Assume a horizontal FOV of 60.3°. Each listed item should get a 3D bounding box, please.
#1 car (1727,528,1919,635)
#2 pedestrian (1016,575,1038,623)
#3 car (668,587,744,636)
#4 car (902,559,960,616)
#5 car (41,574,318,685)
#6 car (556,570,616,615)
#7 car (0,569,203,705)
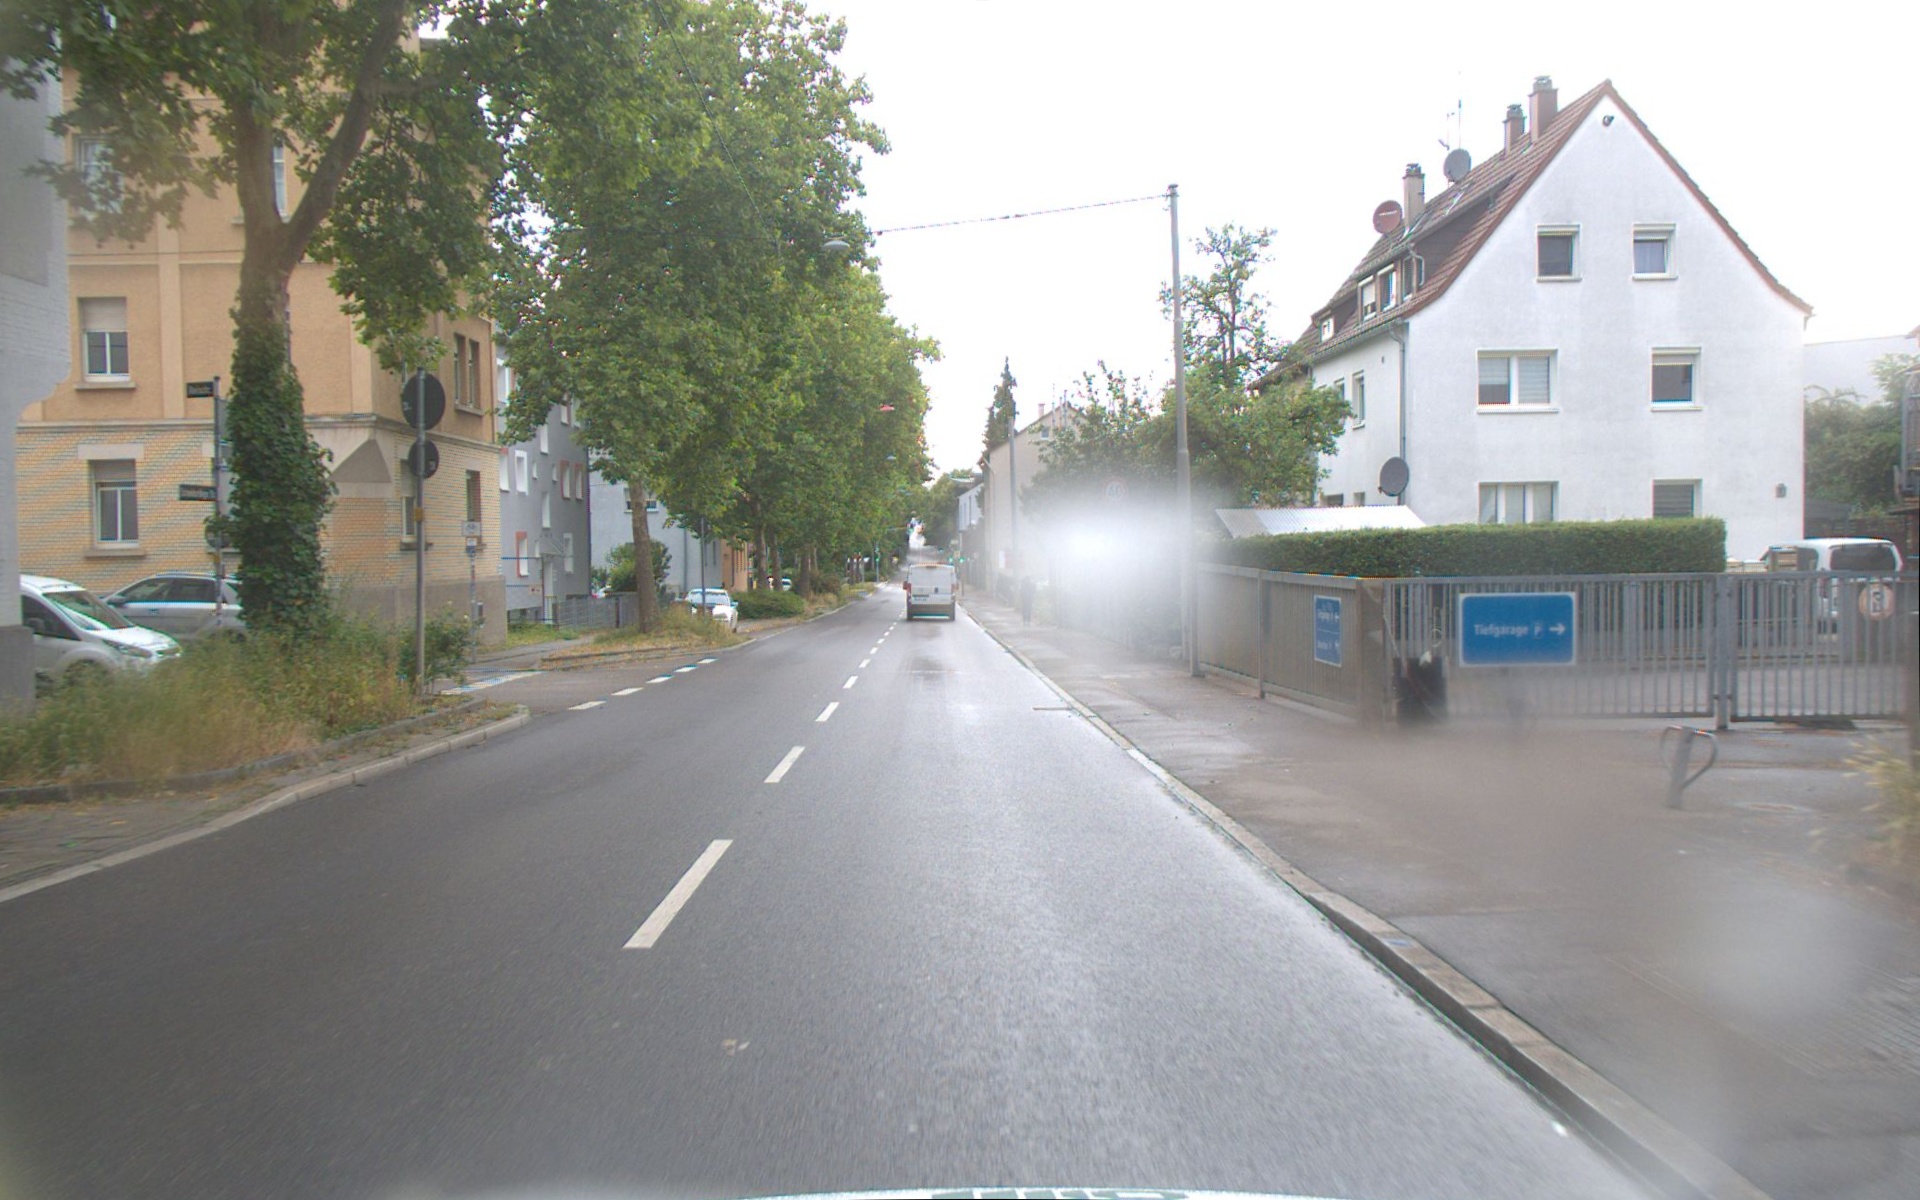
[{"bbox_3d":[17.646,-0.377,34.026,1.801,2.049,3.999,-1,0,-1],"label":"car"},{"bbox_3d":[2.428,-0.049,59.873,0.799,1.728,0.729,0,0,1],"label":"pedestrian"},{"bbox_3d":[-8.018,0.336,52.579,1.954,1.477,4.208,-1,0,-3],"label":"car"},{"bbox_3d":[-1.258,-0.568,69.258,2.300,2.197,4.776,-1,2,-3],"label":"car"},{"bbox_3d":[-14.247,0.521,30.386,4.112,1.925,1.999,-1,0,-2],"label":"car"},{"bbox_3d":[-16.842,-0.348,74.582,1.837,1.927,4.000,-1,1,-1],"label":"car"},{"bbox_3d":[-13.822,0.536,24.668,4.112,1.925,1.999,-1,0,-2],"label":"car"}]
